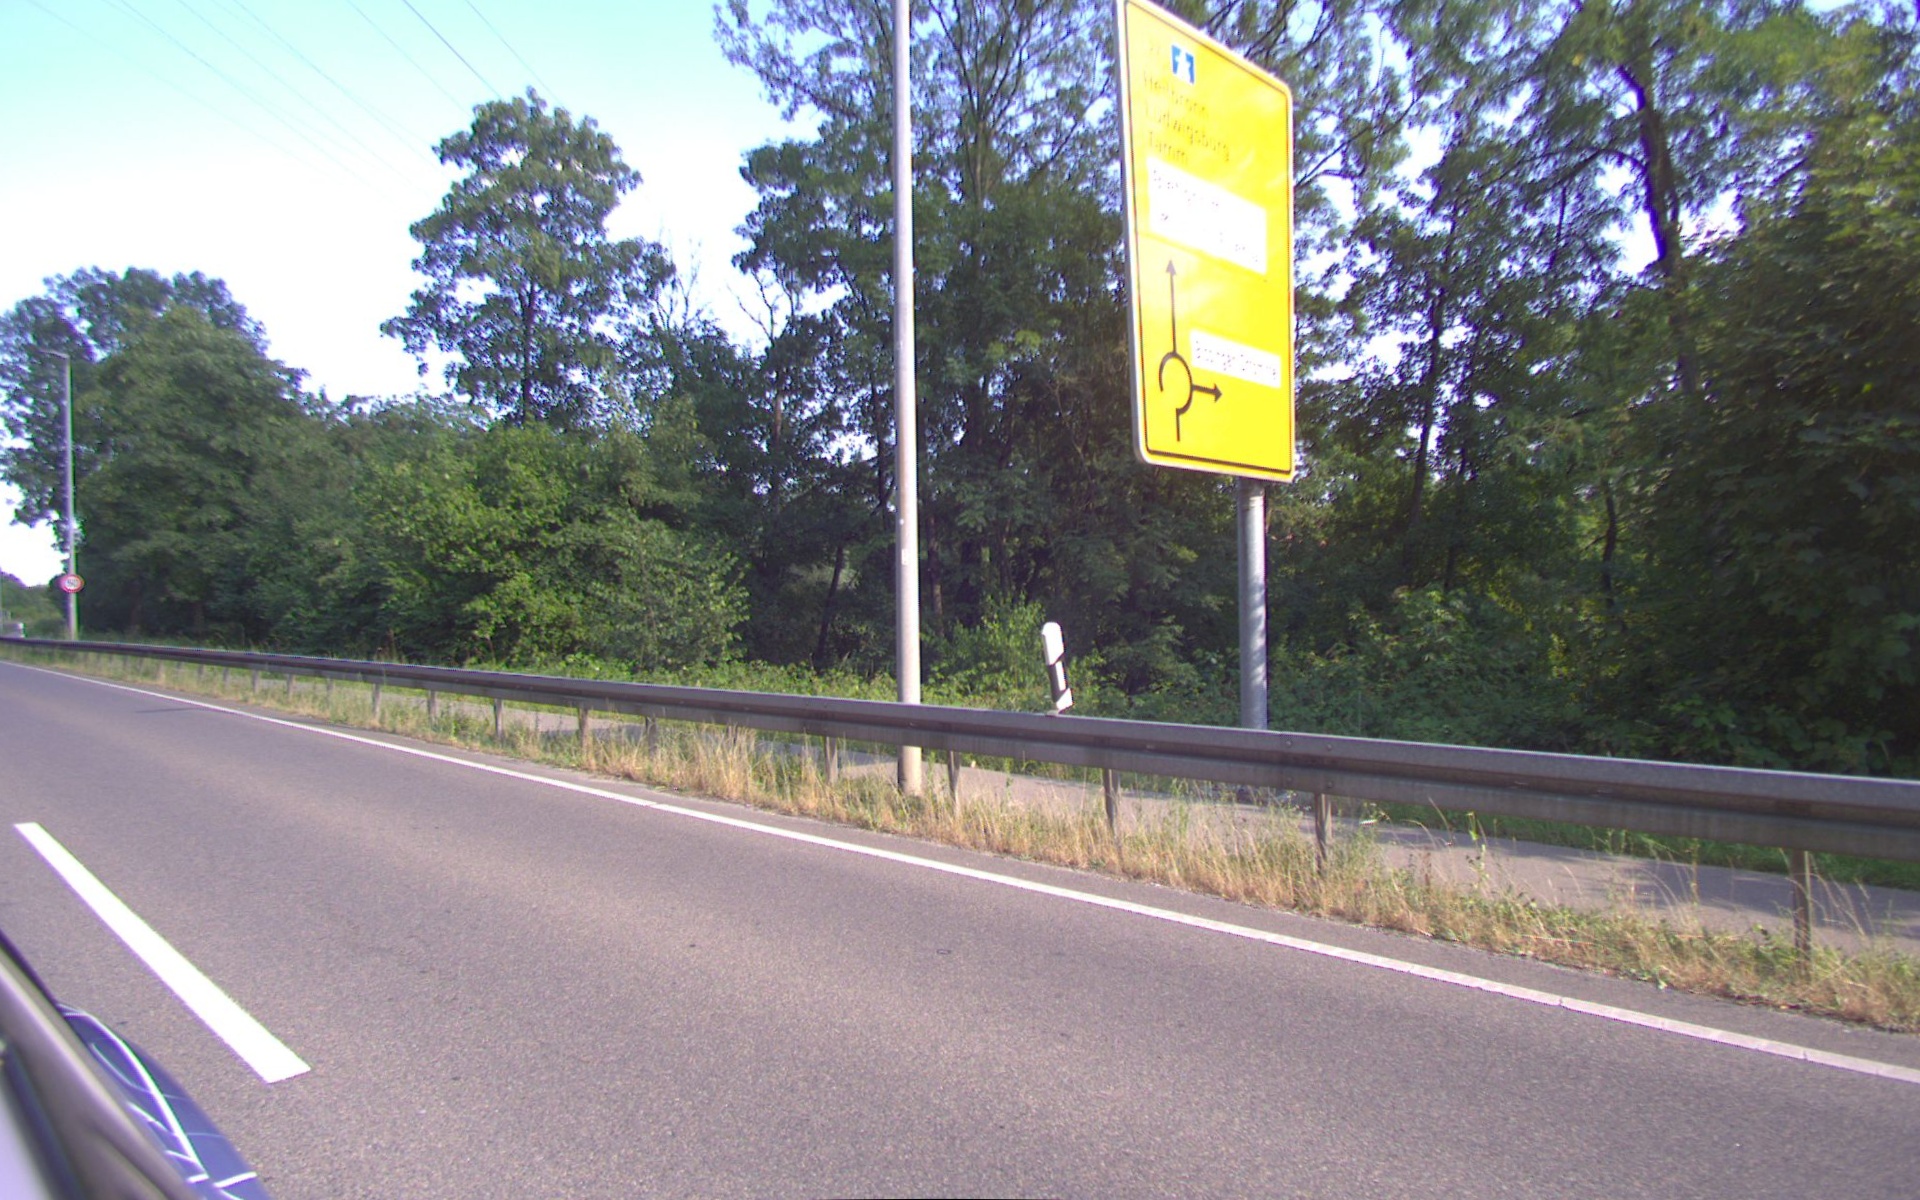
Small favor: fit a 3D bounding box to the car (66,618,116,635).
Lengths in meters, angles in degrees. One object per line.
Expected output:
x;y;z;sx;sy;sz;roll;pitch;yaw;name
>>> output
-106.965;3.261;124.535;2.000;2.029;4.463;-1;-2;43;car
